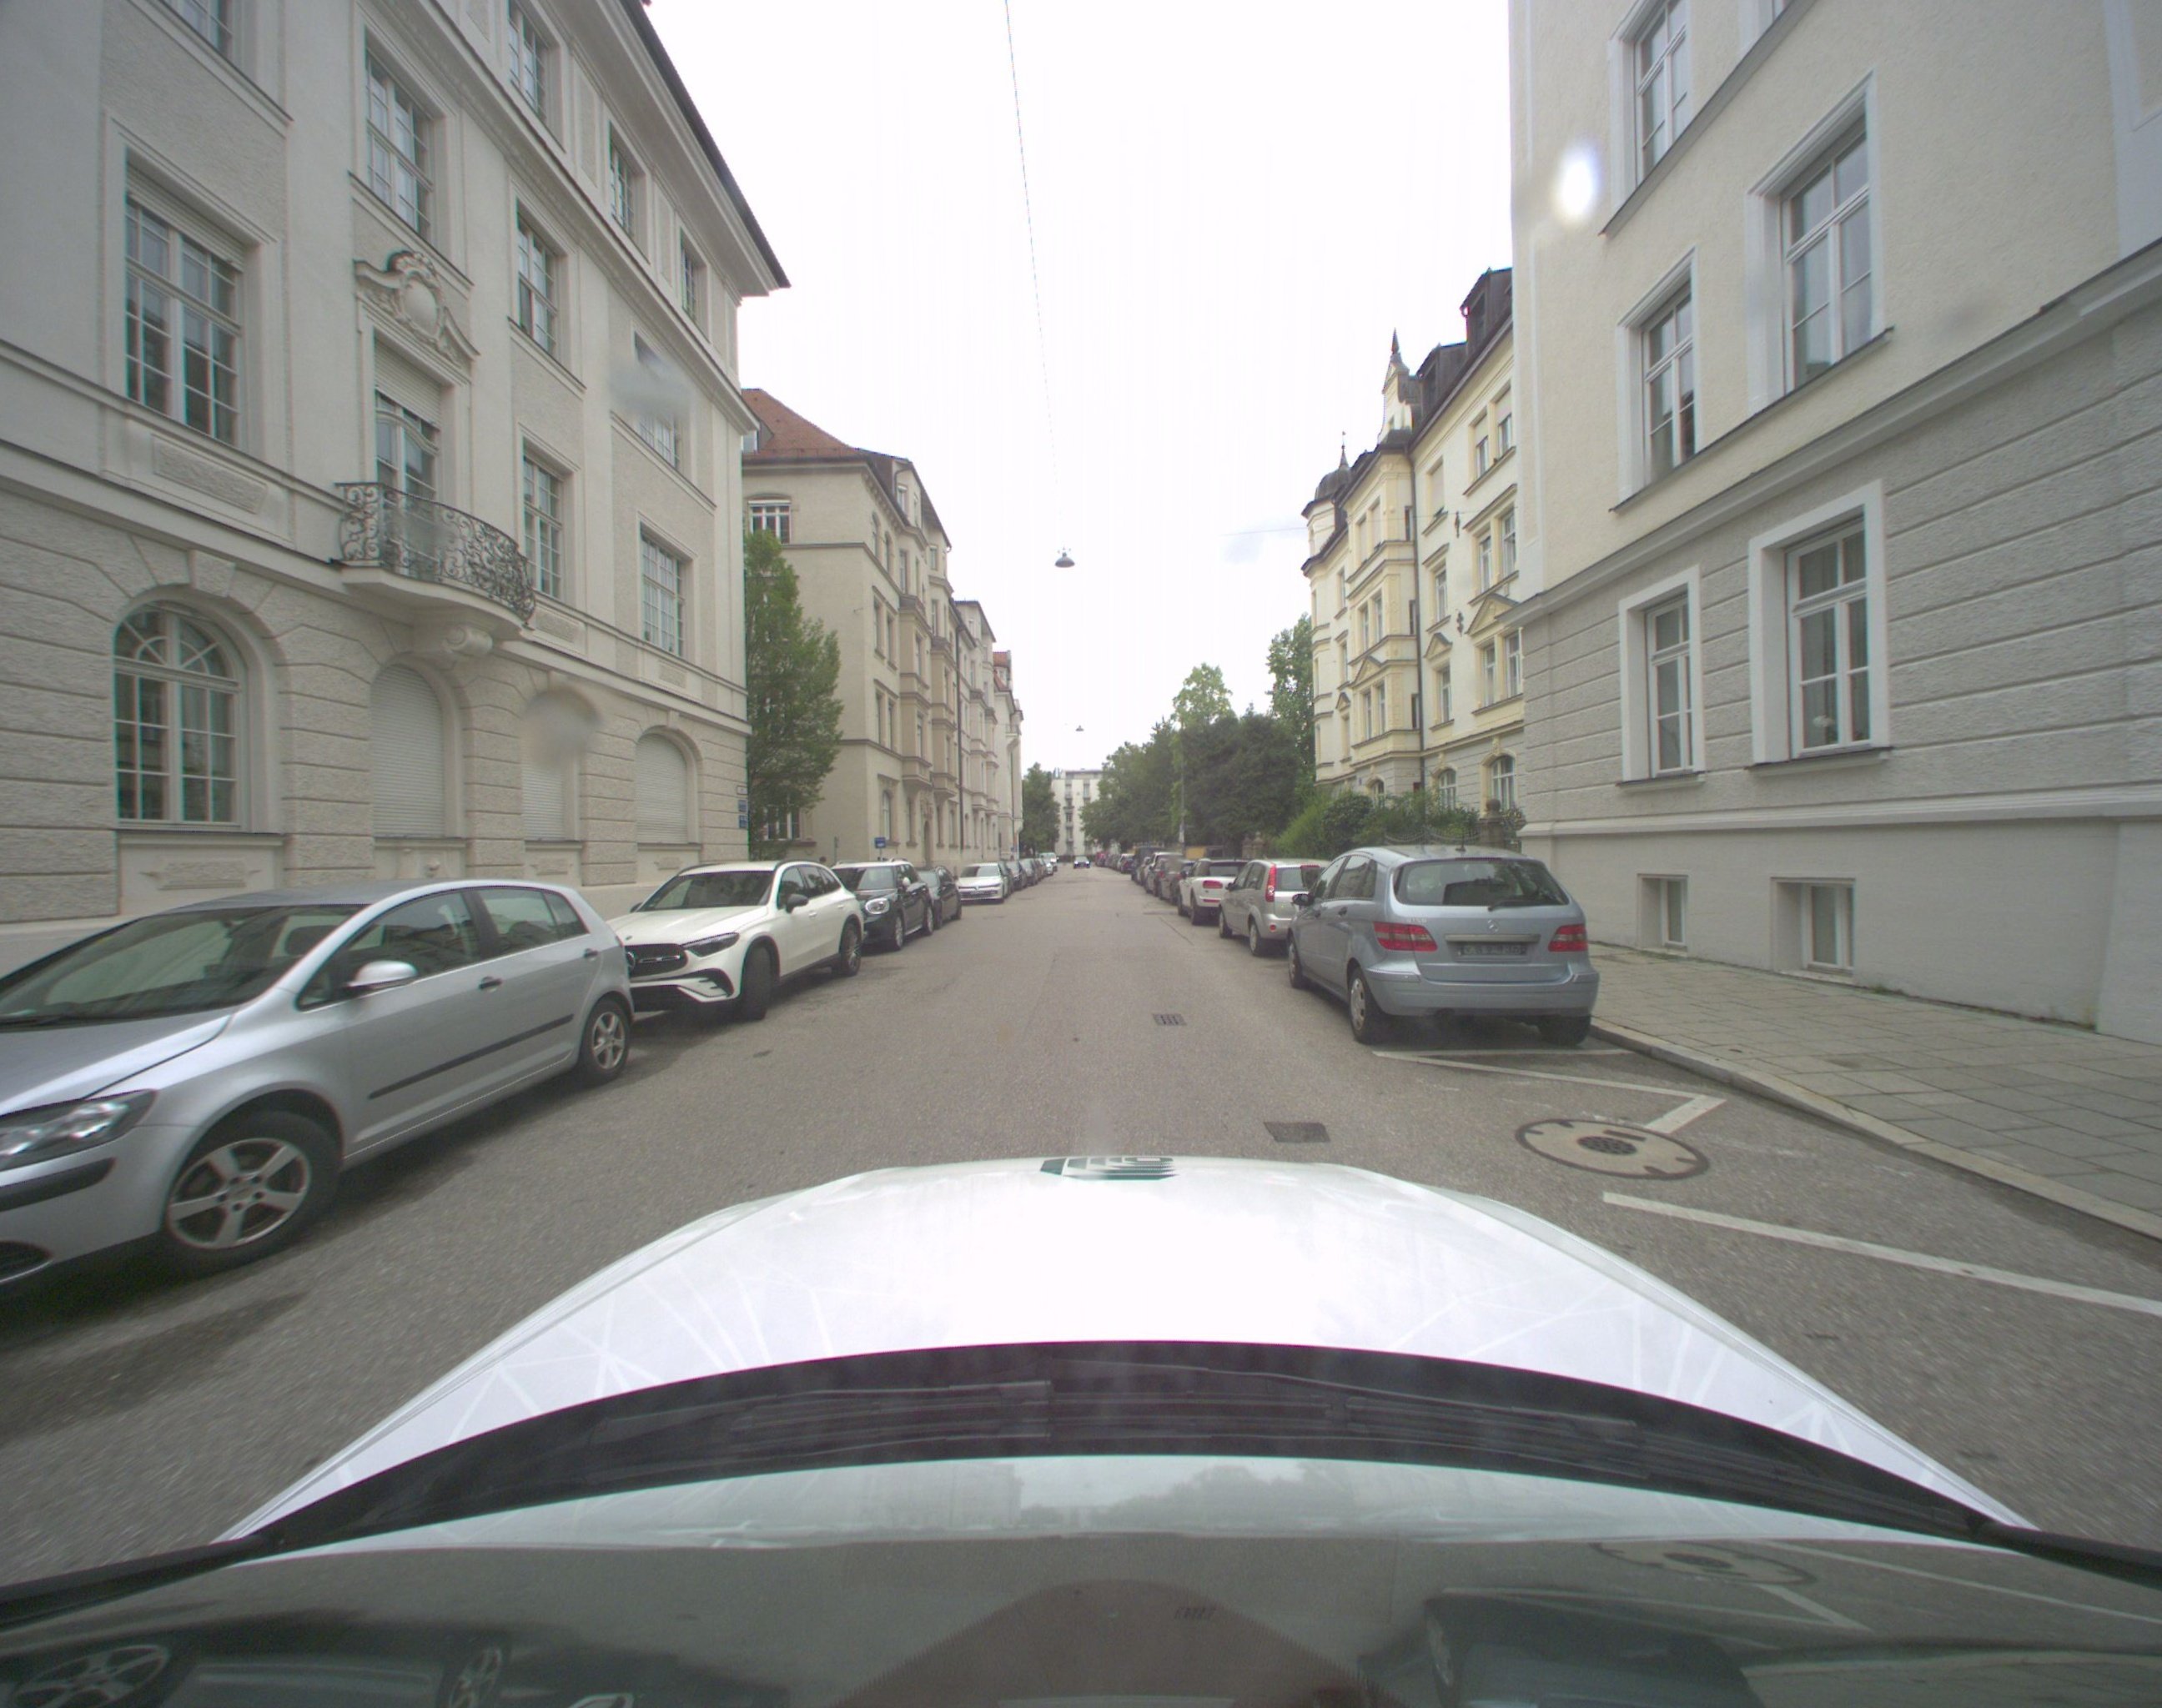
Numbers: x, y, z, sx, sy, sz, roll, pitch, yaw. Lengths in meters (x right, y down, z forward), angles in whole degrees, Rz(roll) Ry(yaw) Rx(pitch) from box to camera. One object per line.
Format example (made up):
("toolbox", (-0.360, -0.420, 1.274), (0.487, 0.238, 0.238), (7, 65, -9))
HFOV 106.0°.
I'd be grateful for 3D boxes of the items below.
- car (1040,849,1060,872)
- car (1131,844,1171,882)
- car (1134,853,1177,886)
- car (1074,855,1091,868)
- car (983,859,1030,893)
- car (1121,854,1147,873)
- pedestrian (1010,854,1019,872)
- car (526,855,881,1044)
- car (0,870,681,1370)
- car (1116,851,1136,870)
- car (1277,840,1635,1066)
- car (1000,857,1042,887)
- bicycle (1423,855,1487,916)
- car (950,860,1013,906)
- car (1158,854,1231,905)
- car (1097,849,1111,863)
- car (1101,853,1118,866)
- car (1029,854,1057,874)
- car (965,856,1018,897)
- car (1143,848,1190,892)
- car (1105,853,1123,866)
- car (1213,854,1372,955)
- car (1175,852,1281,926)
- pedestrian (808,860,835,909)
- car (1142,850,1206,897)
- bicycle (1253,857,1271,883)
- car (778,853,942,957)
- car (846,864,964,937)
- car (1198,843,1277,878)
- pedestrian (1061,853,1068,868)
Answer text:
("car", (-3.205, 0.656, 84.801), (1.881, 2.127, 4.704), (-4, 0, -1))
("car", (3.885, 0.456, 45.947), (1.944, 1.954, 4.666), (0, 1, 0))
("car", (3.699, 0.756, 40.925), (1.718, 1.519, 3.629), (1, 0, -1))
("car", (0.170, 0.825, 95.860), (1.869, 1.428, 4.406), (-2, 0, -2))
("car", (-3.597, 1.019, 40.097), (1.828, 1.434, 4.552), (-3, 0, 0))
("car", (4.121, 0.708, 63.723), (1.832, 1.413, 4.343), (0, 0, 1))
("pedestrian", (-6.375, 0.889, 78.267), (0.791, 1.679, 0.698), (-2, 0, -7))
("car", (-3.958, 0.862, 9.604), (1.908, 1.618, 4.573), (-1, 0, 1))
("car", (-4.252, 0.954, 4.745), (1.778, 1.541, 4.253), (-4, 0, -2))
("car", (4.083, 0.620, 73.827), (1.509, 1.661, 3.671), (0, -1, -2))
("car", (3.198, 0.683, 8.026), (1.813, 1.569, 4.406), (1, 1, 5))
("car", (-3.326, 0.983, 45.553), (1.830, 1.435, 4.246), (-4, 0, 1))
("bicycle", (7.401, 0.584, 16.205), (0.432, 1.125, 1.882), (-2, 0, 2))
("car", (-3.655, 1.036, 30.599), (1.831, 1.434, 4.243), (-3, 0, -1))
("car", (3.555, 0.753, 26.179), (1.679, 1.504, 4.015), (-1, 0, -2))
("car", (3.222, 0.293, 114.213), (1.829, 1.927, 4.008), (1, 0, 3))
("car", (3.611, 0.711, 102.536), (1.834, 1.519, 3.943), (0, 0, -3))
("car", (-3.040, 0.786, 66.287), (1.830, 1.438, 4.276), (-4, 0, 1))
("car", (-3.808, 0.916, 35.247), (1.765, 1.518, 4.383), (-4, 0, -1))
("car", (3.729, 0.676, 36.100), (1.716, 1.769, 4.414), (1, 0, 1))
("car", (3.947, 0.648, 98.356), (1.834, 1.519, 3.943), (0, 0, -3))
("car", (3.277, 0.717, 13.272), (1.748, 1.406, 3.452), (-1, 0, 1))
("car", (3.263, 0.719, 18.809), (1.778, 1.504, 4.065), (-1, 0, 1))
("pedestrian", (-8.751, 1.022, 27.495), (0.671, 1.626, 0.630), (-2, 0, -2))
("car", (3.475, 0.688, 31.134), (1.746, 1.610, 4.420), (0, 1, -2))
("bicycle", (7.796, 0.680, 35.064), (0.453, 1.098, 1.313), (-2, 0, -1))
("car", (-3.939, 0.824, 15.304), (1.830, 1.618, 4.245), (-1, 0, 0))
("car", (-4.052, 1.007, 19.469), (1.781, 1.412, 4.367), (-1, 0, 0))
("car", (9.732, 0.368, 50.810), (4.523, 1.950, 1.900), (-2, 2, -6))
("pedestrian", (-2.495, 0.970, 122.997), (0.843, 2.285, 0.838), (-1, 0, -16))
